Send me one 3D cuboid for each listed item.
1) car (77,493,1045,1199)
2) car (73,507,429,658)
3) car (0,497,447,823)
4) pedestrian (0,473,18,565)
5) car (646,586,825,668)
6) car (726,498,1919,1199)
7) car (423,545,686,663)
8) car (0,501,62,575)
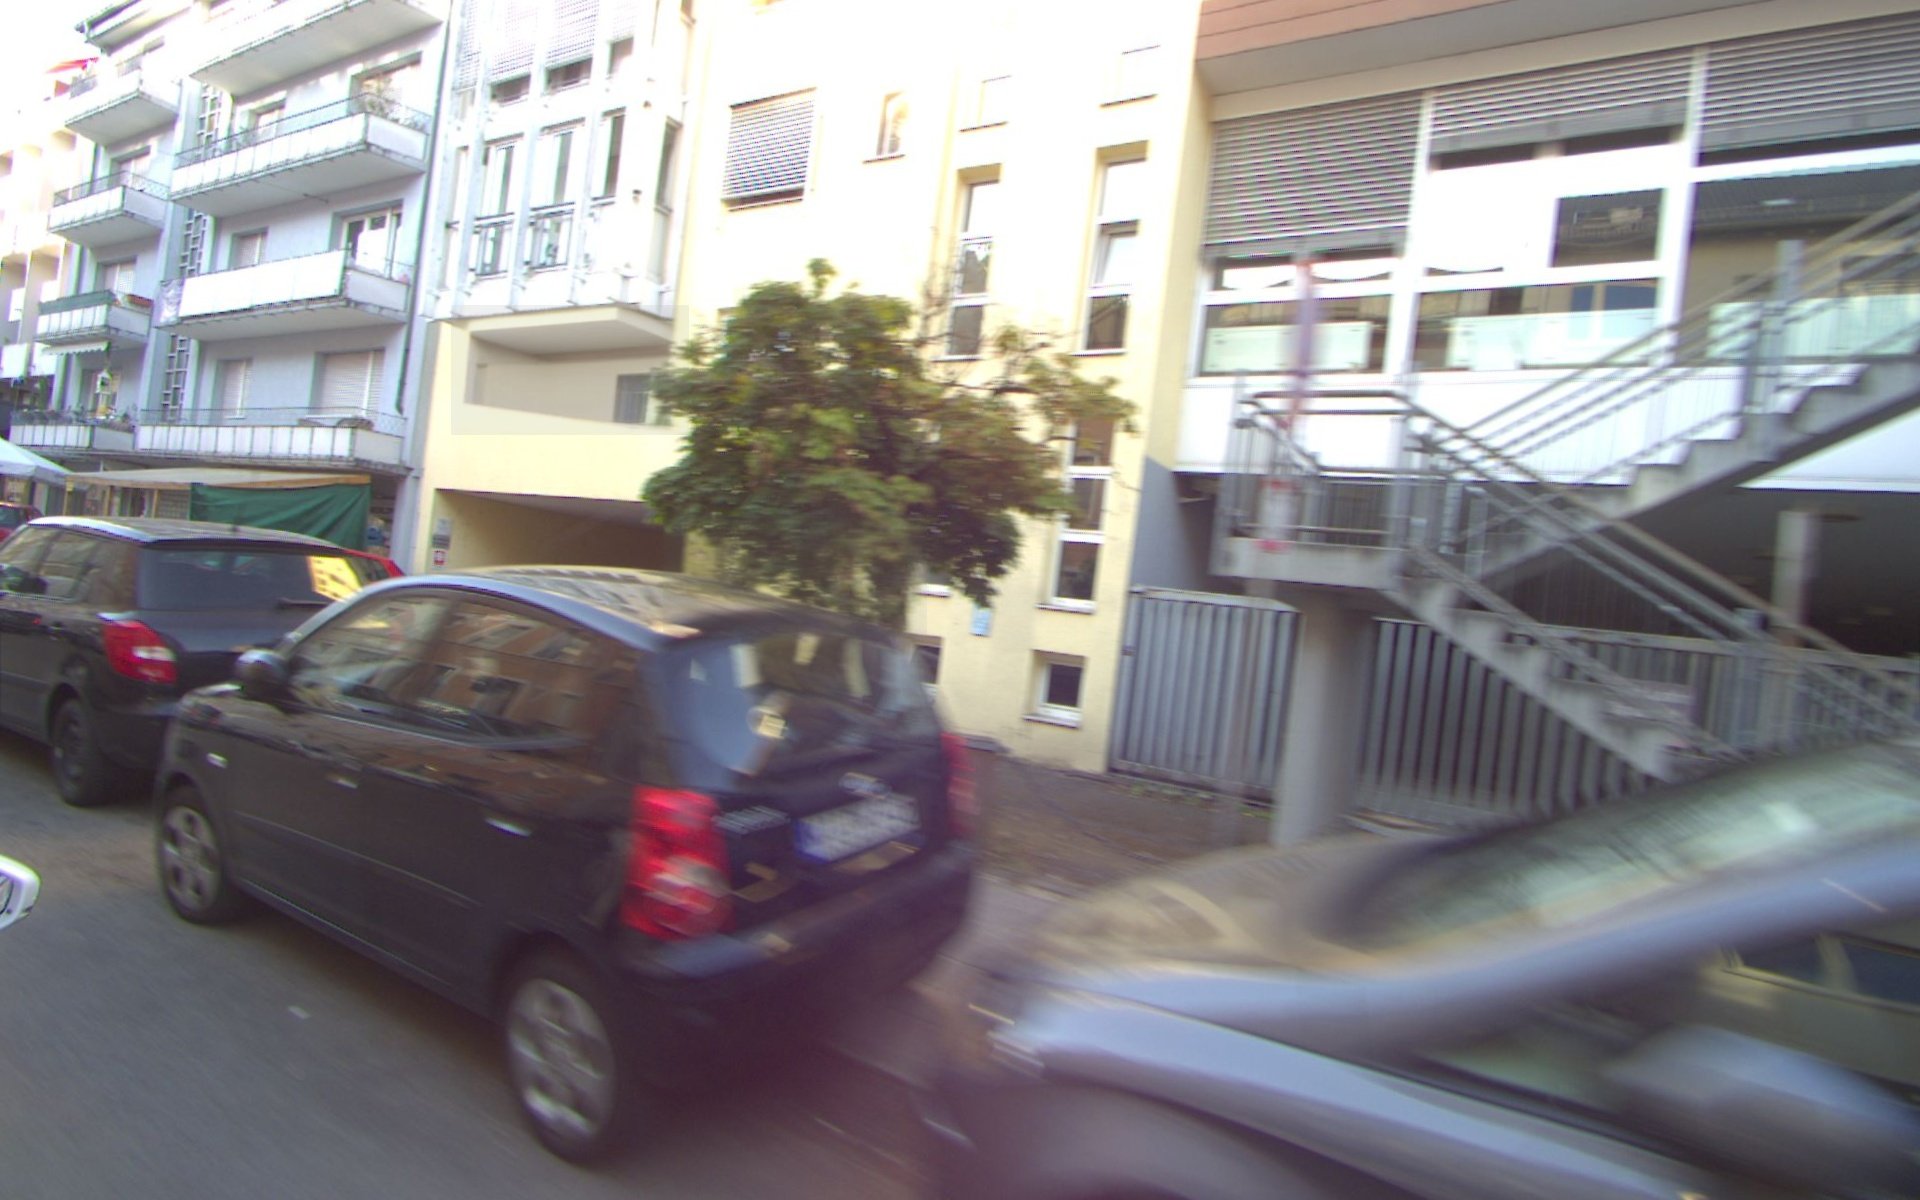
[{"bbox_3d":[-1.726,0.567,3.940,3.635,1.575,1.624,6,-2,34],"label":"car"},{"bbox_3d":[-10.438,-0.169,15.134,1.666,1.625,3.906,6,-4,30],"label":"car"},{"bbox_3d":[-5.350,0.189,6.557,4.056,1.504,1.622,6,0,32],"label":"car"},{"bbox_3d":[-23.522,-2.016,24.089,0.938,2.170,0.876,6,0,15],"label":"pedestrian"},{"bbox_3d":[-5.016,0.676,23.026,1.730,1.436,3.956,6,-2,28],"label":"car"},{"bbox_3d":[1.928,0.943,1.411,4.453,1.702,1.752,6,-3,34],"label":"car"},{"bbox_3d":[-7.331,0.153,18.632,1.965,1.678,4.118,6,-2,27],"label":"car"},{"bbox_3d":[-20.639,-1.382,21.562,1.591,1.432,3.199,7,-2,-35],"label":"car"}]
